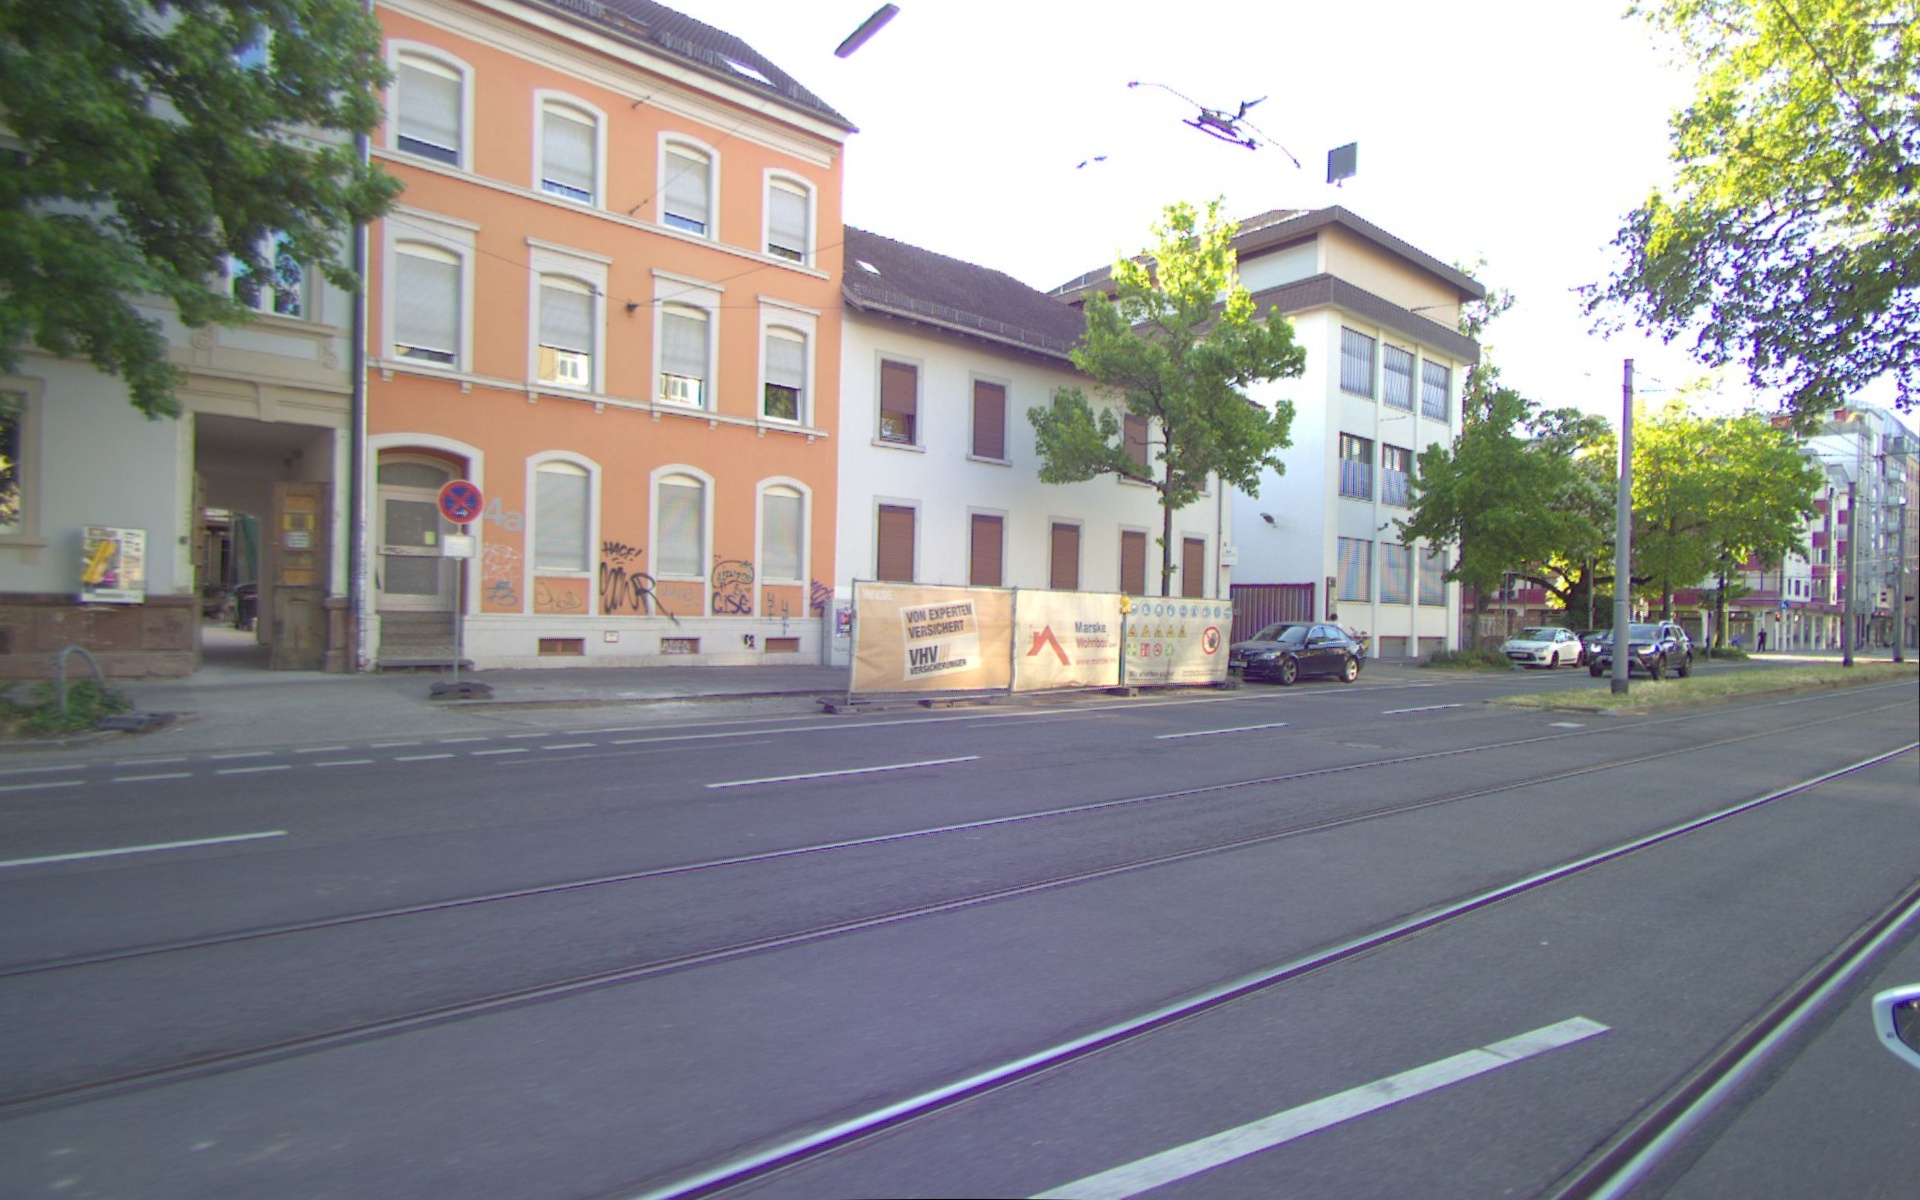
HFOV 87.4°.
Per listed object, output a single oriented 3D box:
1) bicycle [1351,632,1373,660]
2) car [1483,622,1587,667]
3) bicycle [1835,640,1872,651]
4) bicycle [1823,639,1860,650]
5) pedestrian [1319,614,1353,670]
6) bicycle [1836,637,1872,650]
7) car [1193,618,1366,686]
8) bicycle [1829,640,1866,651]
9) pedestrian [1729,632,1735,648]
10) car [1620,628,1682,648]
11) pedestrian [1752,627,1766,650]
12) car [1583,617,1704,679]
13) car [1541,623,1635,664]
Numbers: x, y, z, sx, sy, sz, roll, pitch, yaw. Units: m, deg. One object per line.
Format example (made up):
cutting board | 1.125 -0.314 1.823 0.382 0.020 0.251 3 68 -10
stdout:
bicycle | 14.655 1.661 36.633 1.011 1.016 0.300 1 -1 -41
car | 20.816 1.586 36.308 4.371 1.490 1.976 2 -1 -41
bicycle | 71.508 3.636 80.423 0.524 0.835 2.150 1 -1 -41
bicycle | 69.647 3.491 79.400 0.636 0.797 2.150 2 -1 -41
pedestrian | 11.217 1.239 29.946 0.725 1.642 0.630 2 0 -37
bicycle | 71.976 3.489 80.865 0.488 0.963 2.150 1 -1 -41
car | 8.107 1.250 25.274 4.687 1.534 1.977 2 -1 -40
bicycle | 70.366 3.623 79.662 0.488 0.797 2.150 1 -1 -41
pedestrian | 59.279 3.075 77.129 0.316 1.230 0.300 1 -1 -44
car | 54.919 3.012 79.836 3.940 1.483 1.793 -1 -2 40
pedestrian | 59.373 2.857 74.631 1.026 1.684 0.702 2 -2 -43
car | 20.345 1.381 29.819 4.277 1.711 1.976 2 -1 -41
car | 25.153 1.701 40.163 4.614 1.495 1.976 2 -1 -41
